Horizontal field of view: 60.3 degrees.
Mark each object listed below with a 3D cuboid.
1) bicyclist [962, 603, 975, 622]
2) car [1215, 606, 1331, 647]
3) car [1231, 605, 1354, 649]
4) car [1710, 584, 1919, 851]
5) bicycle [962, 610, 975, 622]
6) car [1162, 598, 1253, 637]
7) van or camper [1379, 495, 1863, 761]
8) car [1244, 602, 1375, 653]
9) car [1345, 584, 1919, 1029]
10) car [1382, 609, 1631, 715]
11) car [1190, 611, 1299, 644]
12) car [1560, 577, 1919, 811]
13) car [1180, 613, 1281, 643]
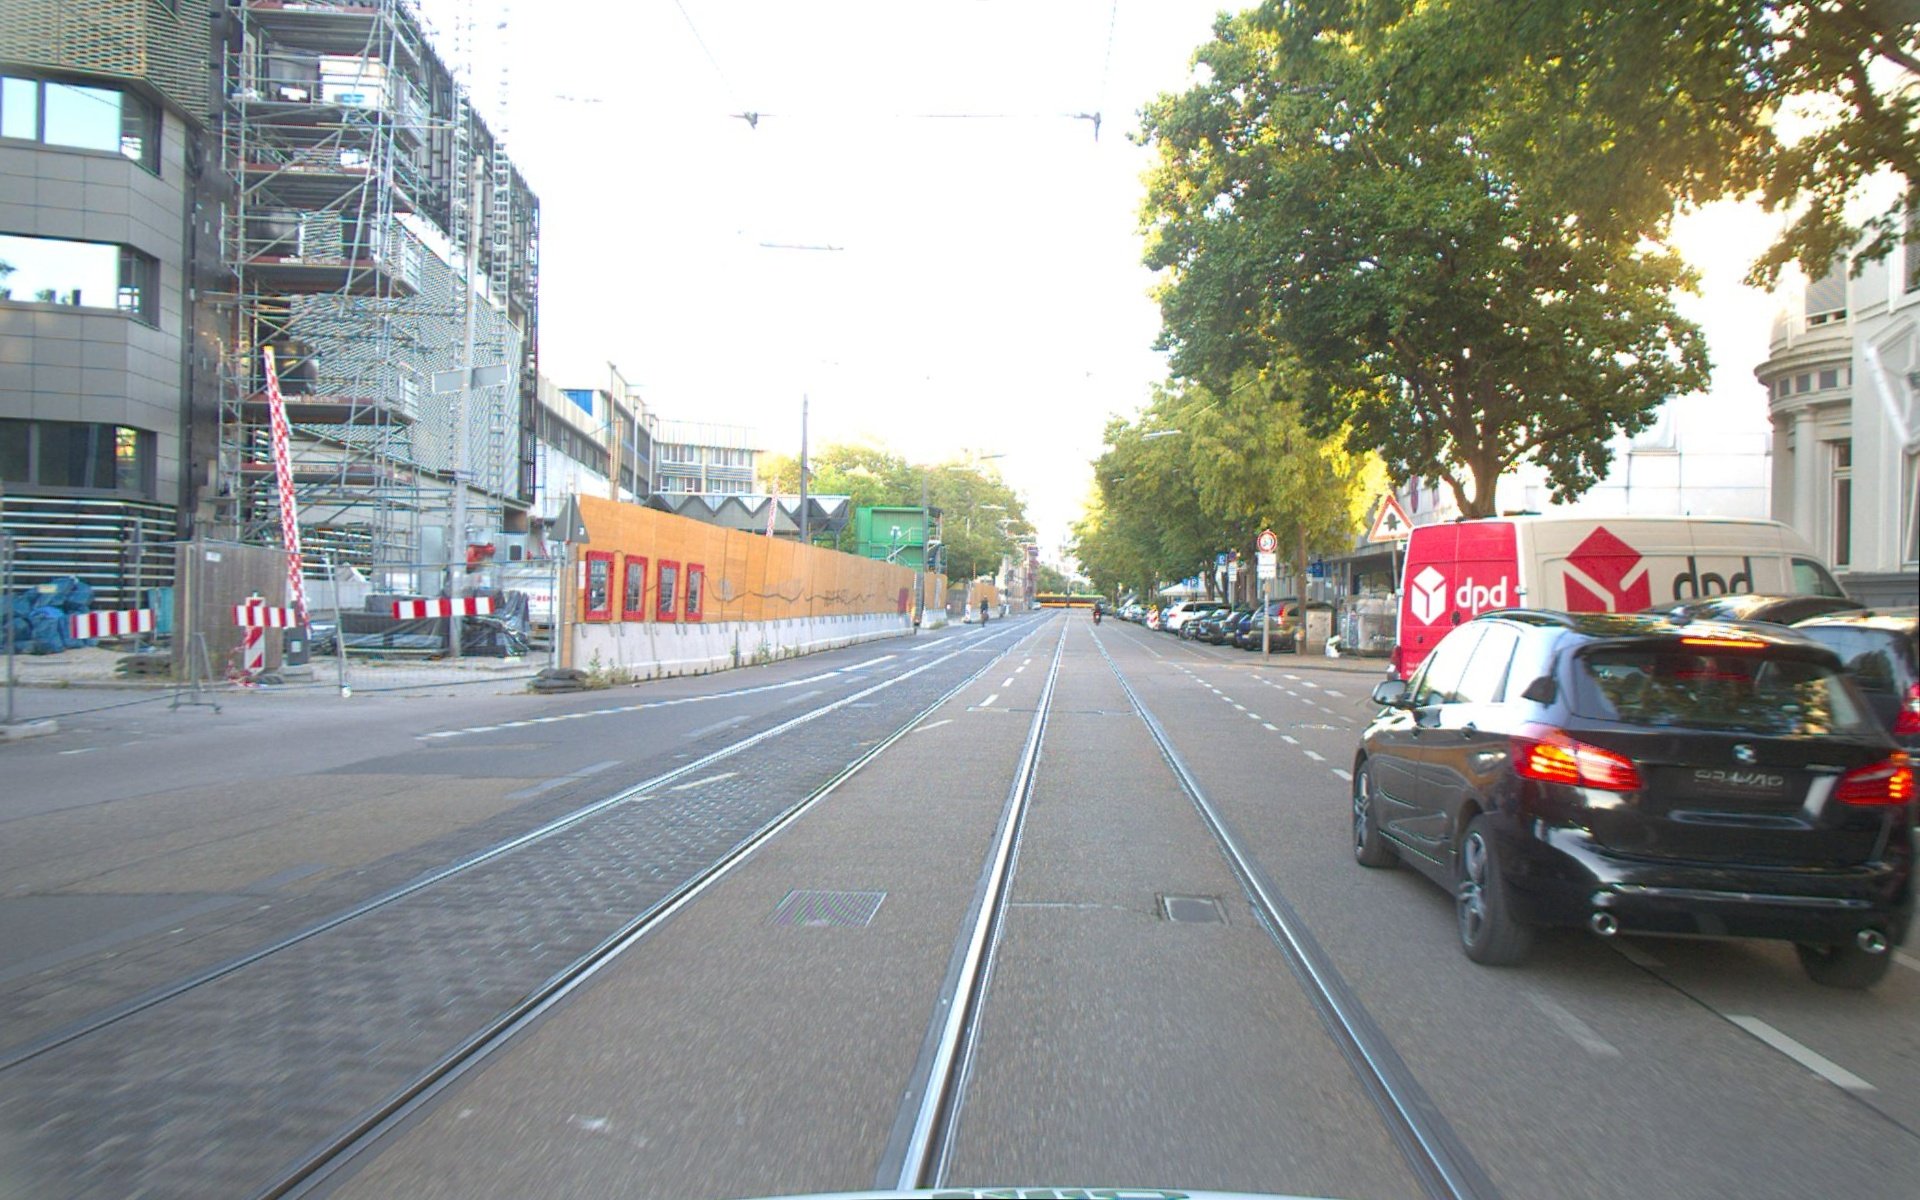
[{"bbox_3d":[0.595,0.902,120.313,0.925,1.369,1.111,1,0,1],"label":"bicyclist"},{"bbox_3d":[11.445,0.966,60.538,3.872,1.430,1.630,1,0,-12],"label":"car"},{"bbox_3d":[11.502,0.937,57.334,3.872,1.430,1.630,1,0,-12],"label":"car"},{"bbox_3d":[8.030,0.764,12.865,3.888,1.796,1.828,-2,0,-23],"label":"car"},{"bbox_3d":[0.636,1.171,121.093,0.928,0.864,2.697,1,0,1],"label":"bicycle"},{"bbox_3d":[11.424,0.805,76.416,3.870,1.752,1.631,1,0,-10],"label":"car"},{"bbox_3d":[7.421,0.203,18.372,5.476,2.574,2.065,-2,0,-31],"label":"van or camper"},{"bbox_3d":[11.436,0.890,54.213,3.872,1.606,1.630,1,0,-12],"label":"car"},{"bbox_3d":[3.302,0.813,8.516,1.842,1.648,4.002,3,0,3],"label":"car"},{"bbox_3d":[8.219,0.887,24.786,3.737,1.332,1.635,-2,0,-35],"label":"car"},{"bbox_3d":[11.116,1.074,64.676,3.872,1.195,1.630,1,0,-12],"label":"car"},{"bbox_3d":[7.605,0.741,14.932,3.888,1.796,1.828,-2,0,-23],"label":"car"},{"bbox_3d":[11.378,1.189,69.634,3.870,1.195,1.631,1,0,-10],"label":"car"}]
